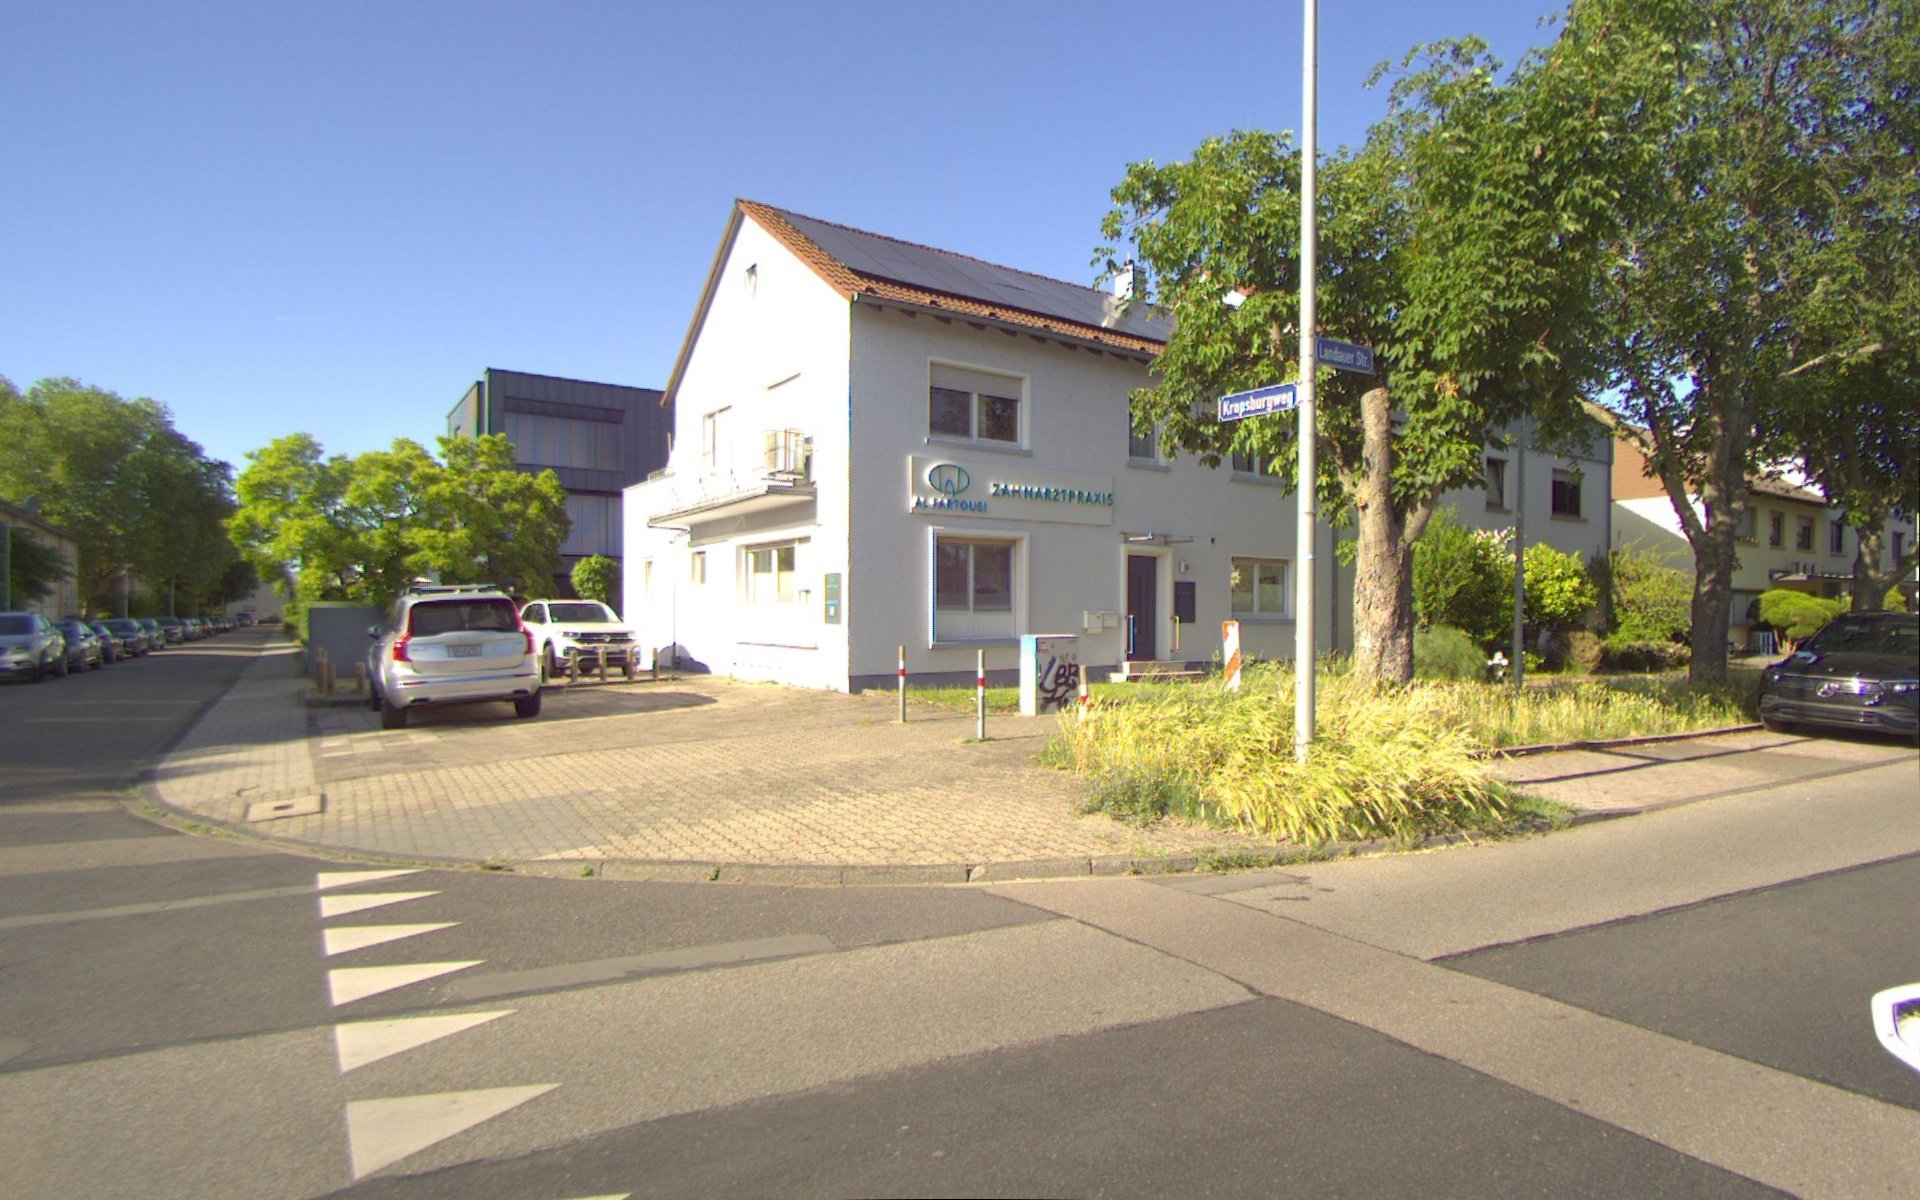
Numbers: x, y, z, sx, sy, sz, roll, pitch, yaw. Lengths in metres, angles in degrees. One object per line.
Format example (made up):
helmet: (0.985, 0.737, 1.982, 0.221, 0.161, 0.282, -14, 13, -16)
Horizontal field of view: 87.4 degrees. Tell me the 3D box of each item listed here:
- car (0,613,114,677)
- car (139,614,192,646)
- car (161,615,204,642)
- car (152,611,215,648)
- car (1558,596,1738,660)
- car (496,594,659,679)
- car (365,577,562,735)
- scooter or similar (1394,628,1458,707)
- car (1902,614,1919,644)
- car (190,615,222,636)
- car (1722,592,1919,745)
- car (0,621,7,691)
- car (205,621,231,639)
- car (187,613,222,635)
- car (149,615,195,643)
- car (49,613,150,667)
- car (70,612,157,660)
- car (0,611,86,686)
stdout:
car: (-25.417, 1.200, 28.233, 1.849, 1.635, 3.748, -2, 0, -30)
car: (-43.960, 1.648, 55.651, 1.850, 1.635, 3.745, -2, 0, -32)
car: (-51.939, 1.886, 67.171, 1.850, 1.635, 3.745, -2, 0, -32)
car: (-36.892, 1.376, 47.826, 1.849, 1.635, 3.748, -2, 0, -30)
car: (21.271, 0.800, 31.192, 1.980, 1.737, 4.204, -1, 2, -36)
car: (-8.127, 0.775, 21.087, 1.982, 1.575, 4.468, -1, -2, -38)
car: (-7.375, 0.693, 14.665, 1.979, 1.862, 4.462, -3, 1, -33)
scooter or similar: (6.295, 0.894, 13.558, 0.987, 1.014, 0.333, 0, -1, -35)
car: (56.935, 1.710, 57.185, 1.979, 1.640, 4.525, -1, 2, -34)
car: (-63.100, 2.127, 84.104, 1.850, 1.635, 3.745, -2, 0, -32)
car: (12.723, 0.852, 13.753, 4.818, 1.750, 1.944, 2, 0, -31)
car: (-19.350, 1.130, 18.600, 1.851, 1.415, 3.742, -2, 0, -35)
car: (-75.212, 3.021, 101.860, 1.850, 1.635, 3.745, -2, 0, -32)
car: (-59.553, 1.843, 79.197, 1.850, 1.635, 3.745, -2, 0, -32)
car: (-49.210, 1.806, 62.793, 1.850, 1.635, 3.745, -2, 0, -32)
car: (-28.470, 1.262, 33.341, 1.849, 1.635, 3.748, -2, 0, -30)
car: (-31.998, 1.314, 38.076, 1.849, 1.635, 3.748, -2, 0, -30)
car: (-22.360, 1.103, 23.744, 1.849, 1.635, 3.748, -2, 0, -30)
